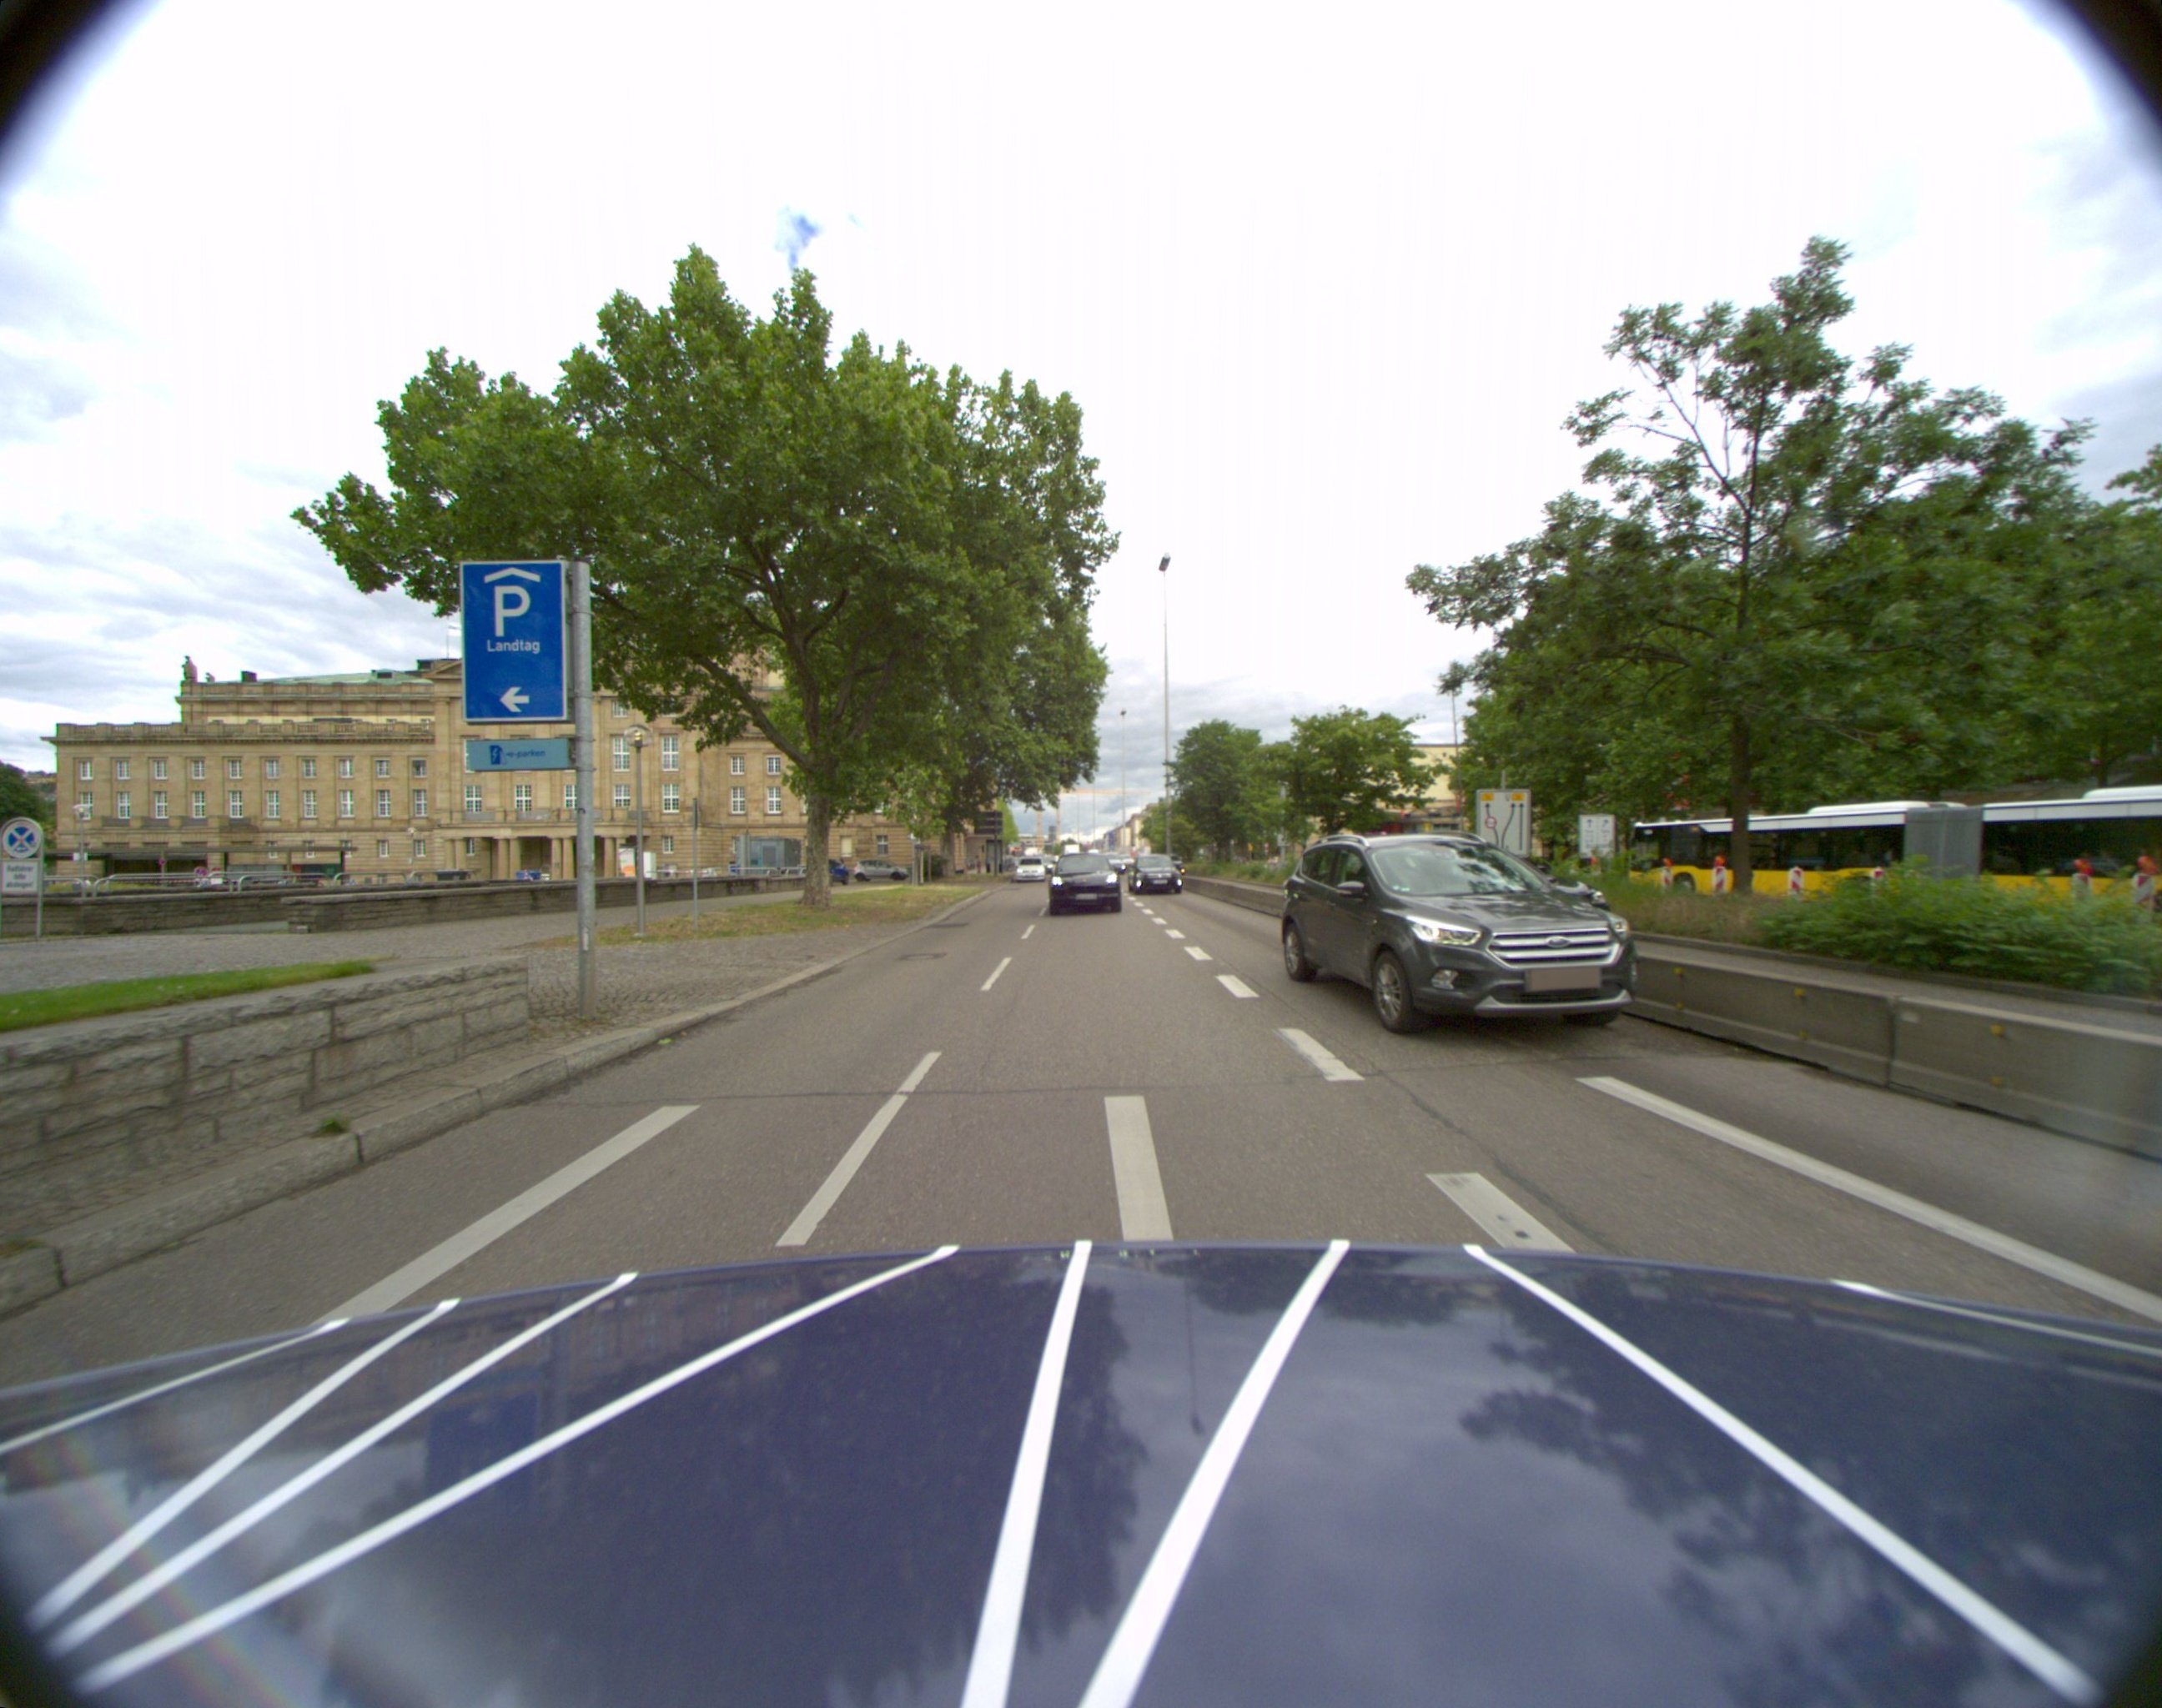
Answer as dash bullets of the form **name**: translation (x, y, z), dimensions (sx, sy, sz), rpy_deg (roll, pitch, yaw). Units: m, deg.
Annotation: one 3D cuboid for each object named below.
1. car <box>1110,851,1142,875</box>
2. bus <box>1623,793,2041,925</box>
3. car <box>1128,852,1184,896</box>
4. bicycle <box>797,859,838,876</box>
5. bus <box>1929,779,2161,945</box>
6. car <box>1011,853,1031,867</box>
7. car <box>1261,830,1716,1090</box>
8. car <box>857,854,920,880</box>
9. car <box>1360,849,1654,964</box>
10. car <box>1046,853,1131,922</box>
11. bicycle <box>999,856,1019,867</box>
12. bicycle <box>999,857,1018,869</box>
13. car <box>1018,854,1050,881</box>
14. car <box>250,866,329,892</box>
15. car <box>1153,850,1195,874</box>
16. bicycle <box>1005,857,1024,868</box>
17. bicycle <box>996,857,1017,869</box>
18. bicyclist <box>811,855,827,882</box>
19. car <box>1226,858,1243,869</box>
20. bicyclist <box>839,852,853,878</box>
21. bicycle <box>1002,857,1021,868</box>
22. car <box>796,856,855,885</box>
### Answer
- **car**: translation (3.307, 0.624, 56.769), dimensions (1.999, 1.607, 4.737), rpy_deg (-1, 1, 0)
- **bus**: translation (22.648, 0.094, 24.356), dimensions (2.920, 3.286, 10.447), rpy_deg (-1, 0, -1)
- **car**: translation (2.888, 0.722, 30.133), dimensions (1.767, 1.507, 4.151), rpy_deg (-2, 1, 0)
- **bicycle**: translation (-19.988, 1.027, 57.736), dimensions (2.846, 1.178, 1.096), rpy_deg (-1, 1, -17)
- **bus**: translation (22.830, 0.147, 15.252), dimensions (2.930, 3.284, 7.704), rpy_deg (-1, 0, -1)
- **car**: translation (-6.877, 0.643, 87.524), dimensions (1.843, 1.522, 4.000), rpy_deg (-1, 1, 2)
- **car**: translation (3.334, 0.727, 7.502), dimensions (1.898, 1.705, 4.657), rpy_deg (-2, 0, -1)
- **car**: translation (-13.805, 0.930, 54.750), dimensions (3.997, 1.587, 1.734), rpy_deg (-3, 1, 1)
- **car**: translation (6.472, 0.684, 12.358), dimensions (1.999, 1.474, 4.808), rpy_deg (-1, 0, -1)
- **car**: translation (0.098, 0.854, 22.060), dimensions (2.062, 1.616, 4.599), rpy_deg (-4, 1, -3)
- **bicycle**: translation (-7.351, 0.774, 77.816), dimensions (1.939, 1.126, 0.540), rpy_deg (-1, 1, -20)
- **bicycle**: translation (-7.131, 0.887, 74.456), dimensions (1.841, 1.066, 0.618), rpy_deg (-1, 1, -8)
- **car**: translation (-3.023, 0.826, 49.124), dimensions (1.695, 1.585, 4.000), rpy_deg (-1, 1, 2)
- **car**: translation (-62.321, 1.967, 59.902), dimensions (3.997, 1.707, 1.999), rpy_deg (-3, 1, 0)
- **car**: translation (6.018, 0.511, 49.646), dimensions (1.999, 1.474, 4.808), rpy_deg (-1, 0, -1)
- **bicycle**: translation (-6.635, 0.855, 75.416), dimensions (1.841, 1.066, 0.531), rpy_deg (-1, 1, -9)
- **bicycle**: translation (-7.239, 0.868, 73.777), dimensions (1.919, 1.092, 0.541), rpy_deg (-1, 1, -8)
- **bicyclist**: translation (-19.900, 1.087, 57.744), dimensions (1.105, 2.002, 1.010), rpy_deg (-2, 0, -19)
- **car**: translation (20.245, 1.265, 100.315), dimensions (1.356, 1.281, 3.736), rpy_deg (-3, 1, -1)
- **bicyclist**: translation (-18.715, 0.906, 60.484), dimensions (0.879, 2.002, 0.842), rpy_deg (-4, 2, -26)
- **bicycle**: translation (-6.961, 0.847, 76.312), dimensions (1.843, 1.066, 0.531), rpy_deg (-1, 1, -20)
- **car**: translation (-14.089, 0.891, 42.162), dimensions (1.768, 1.508, 4.219), rpy_deg (-1, -1, 2)
